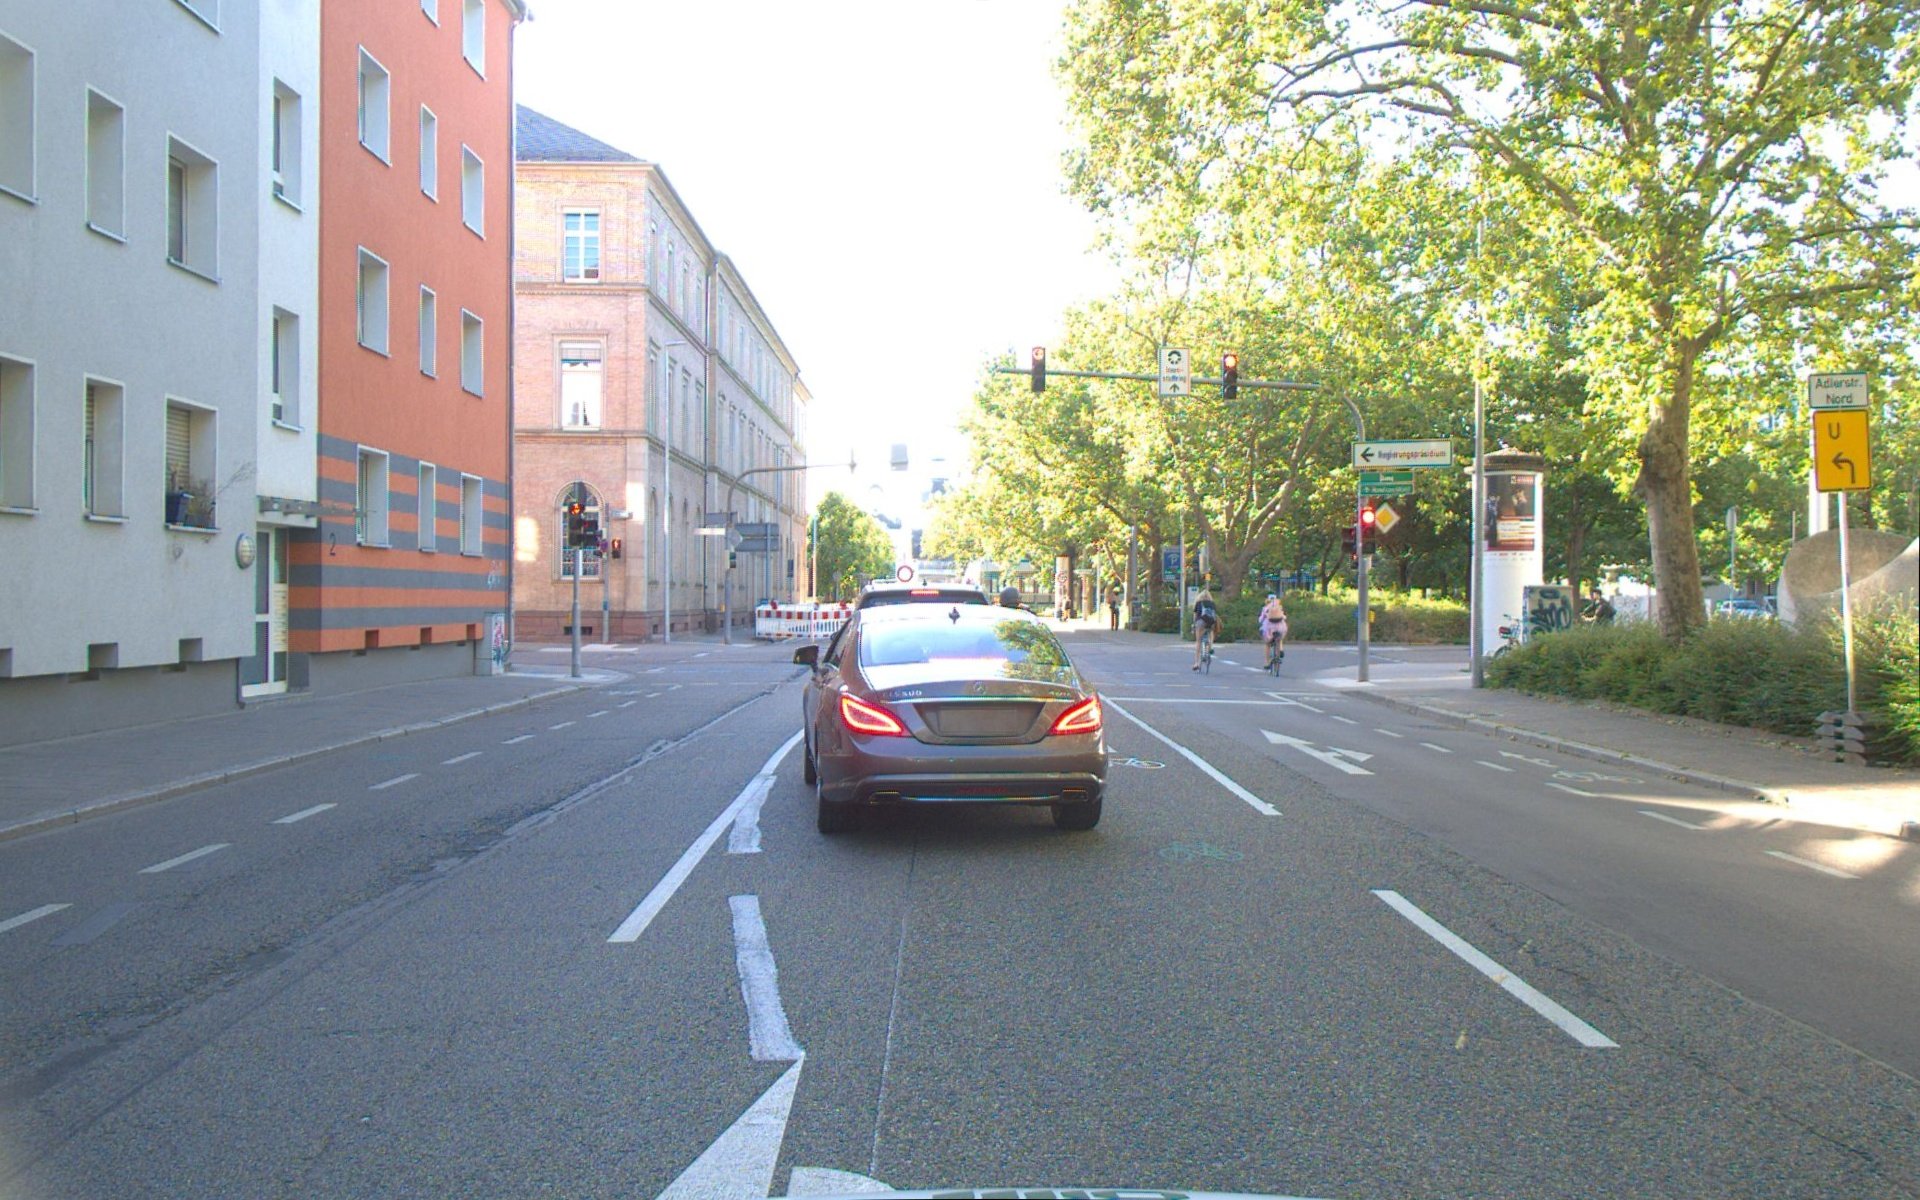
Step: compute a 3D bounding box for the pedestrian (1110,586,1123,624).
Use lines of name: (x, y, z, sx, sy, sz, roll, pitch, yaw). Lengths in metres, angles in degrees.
pedestrian: (7.034, 0.239, 74.412, 0.548, 1.707, 0.564, 0, 0, -1)

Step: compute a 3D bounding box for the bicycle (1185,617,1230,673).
bicycle: (4.977, 0.894, 33.378, 0.598, 1.044, 1.731, 2, 0, -1)

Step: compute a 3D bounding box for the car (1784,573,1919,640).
car: (25.590, 0.184, 46.432, 3.912, 1.815, 2.001, 0, 0, 4)

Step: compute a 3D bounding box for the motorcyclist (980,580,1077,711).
motorcyclist: (0.867, 0.565, 21.227, 1.091, 1.641, 1.201, 0, 0, -5)

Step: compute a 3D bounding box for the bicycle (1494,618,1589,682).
bicycle: (9.701, 0.831, 27.611, 1.387, 1.055, 0.538, 0, 0, -5)

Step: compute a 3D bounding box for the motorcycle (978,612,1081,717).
motorcycle: (0.857, 0.791, 21.209, 0.987, 1.225, 2.662, 0, 0, -5)

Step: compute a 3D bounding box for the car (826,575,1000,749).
car: (-0.512, 0.588, 17.713, 1.647, 1.653, 3.839, 0, 0, -2)

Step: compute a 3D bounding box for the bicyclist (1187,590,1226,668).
bicyclist: (4.973, 0.578, 33.434, 0.598, 1.542, 0.889, 2, 0, -1)

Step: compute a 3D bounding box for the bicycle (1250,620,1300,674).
bicycle: (6.364, 0.942, 33.478, 0.588, 1.002, 1.881, 2, 0, -1)

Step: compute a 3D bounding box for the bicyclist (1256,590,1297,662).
bicyclist: (6.386, 0.513, 33.423, 0.588, 1.426, 0.931, 2, 0, -1)

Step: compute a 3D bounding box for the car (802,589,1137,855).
car: (-0.139, 0.686, 11.630, 1.787, 1.502, 4.346, 0, 0, -7)

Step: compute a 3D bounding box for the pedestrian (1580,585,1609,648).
pedestrian: (18.624, 0.479, 48.536, 0.607, 1.815, 0.630, 0, 0, 1)
